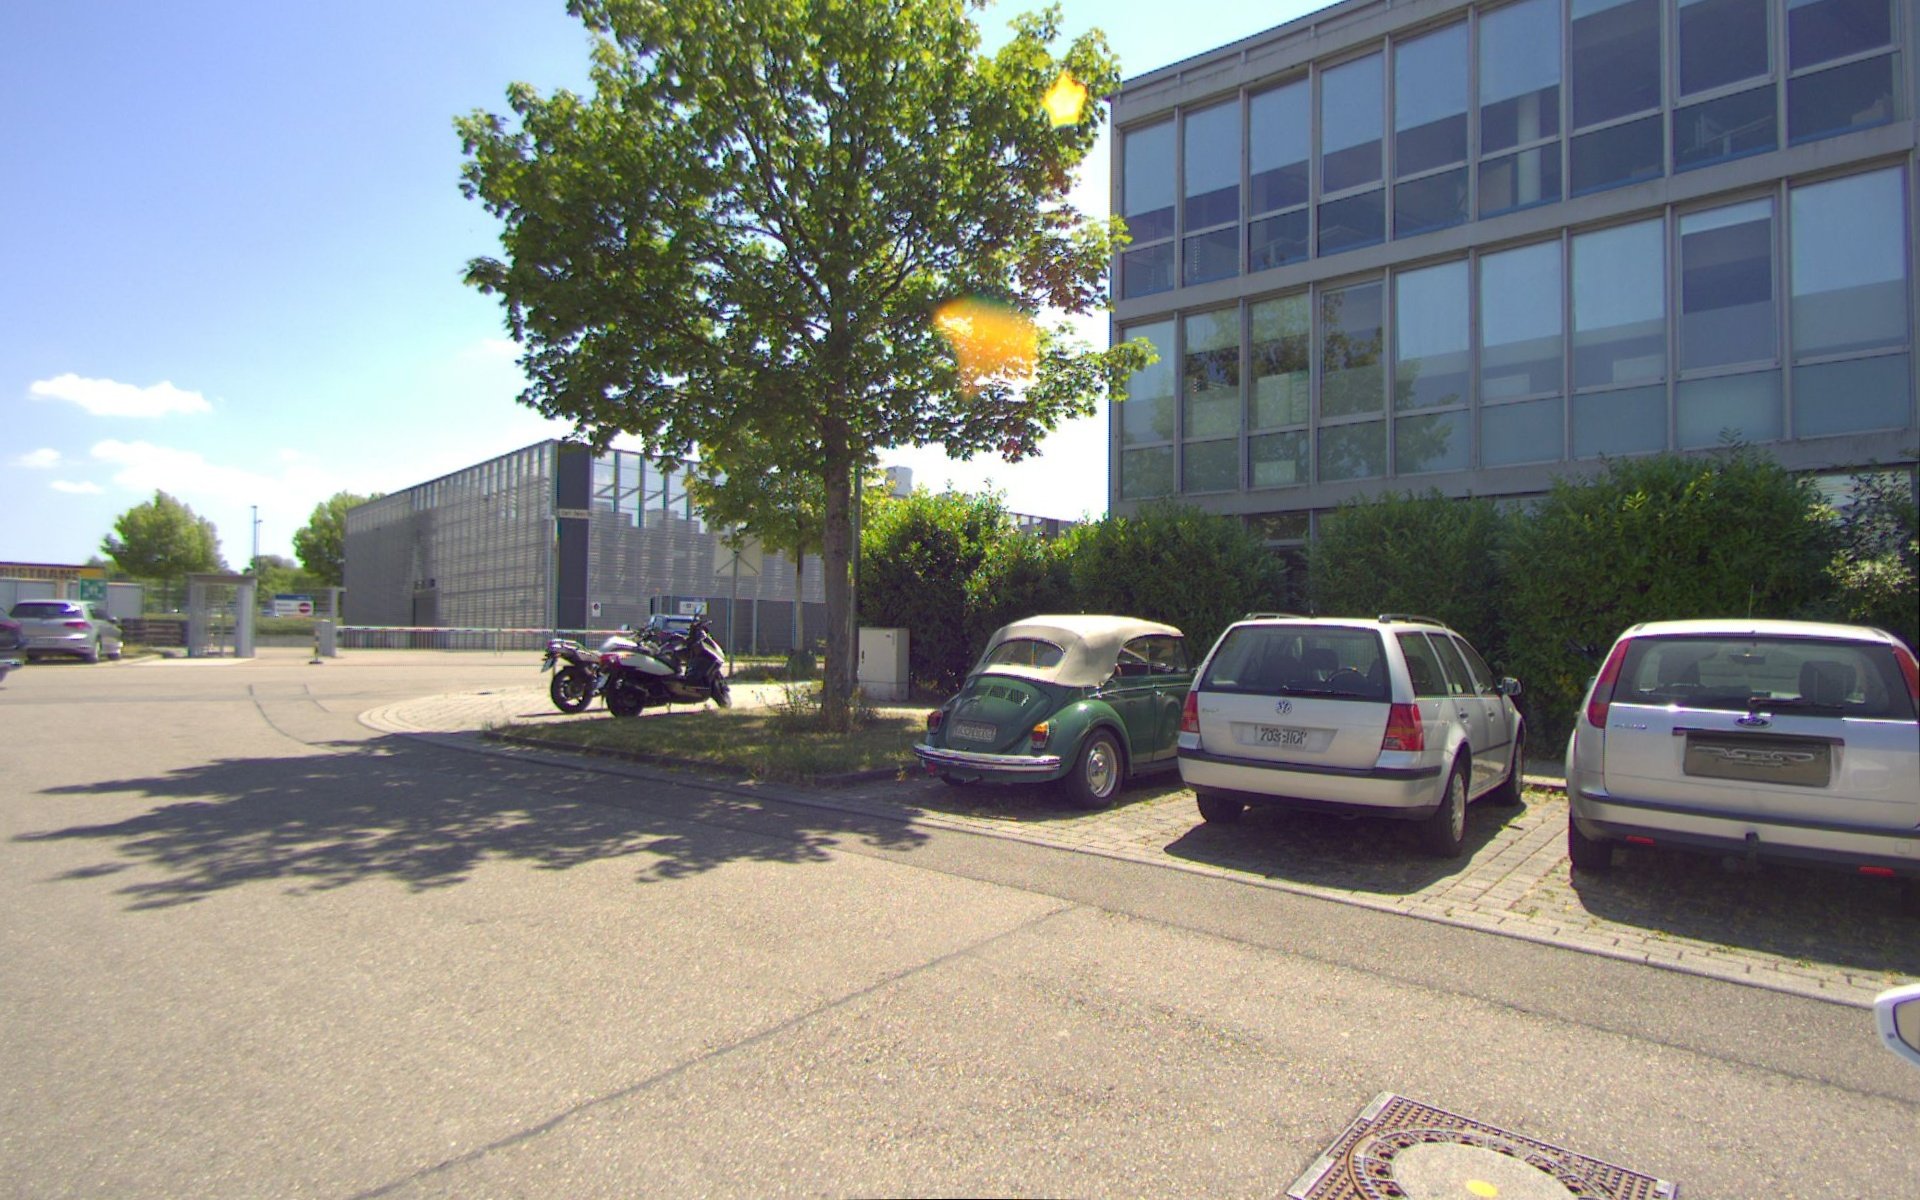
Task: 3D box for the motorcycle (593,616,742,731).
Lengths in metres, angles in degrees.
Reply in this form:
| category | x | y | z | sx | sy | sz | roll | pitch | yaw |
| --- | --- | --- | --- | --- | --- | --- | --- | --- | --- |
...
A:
| category | x | y | z | sx | sy | sz | roll | pitch | yaw |
| --- | --- | --- | --- | --- | --- | --- | --- | --- | --- |
| motorcycle | -3.819 | 0.932 | 13.282 | 0.476 | 1.408 | 1.982 | 0 | -1 | 36 |

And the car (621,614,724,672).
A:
| category | x | y | z | sx | sy | sz | roll | pitch | yaw |
| --- | --- | --- | --- | --- | --- | --- | --- | --- | --- |
| car | -8.684 | 1.254 | 30.131 | 1.978 | 1.616 | 3.966 | 2 | -2 | -31 |

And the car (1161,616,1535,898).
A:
| category | x | y | z | sx | sy | sz | roll | pitch | yaw |
| --- | --- | --- | --- | --- | --- | --- | --- | --- | --- |
| car | 3.087 | 0.922 | 7.471 | 1.626 | 1.498 | 3.878 | 0 | -2 | 36 |

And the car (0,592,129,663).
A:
| category | x | y | z | sx | sy | sz | roll | pitch | yaw |
| --- | --- | --- | --- | --- | --- | --- | --- | --- | --- |
| car | -21.249 | 0.638 | 23.907 | 1.634 | 1.542 | 3.967 | 2 | -2 | -31 |

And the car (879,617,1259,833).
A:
| category | x | y | z | sx | sy | sz | roll | pitch | yaw |
| --- | --- | --- | --- | --- | --- | --- | --- | --- | --- |
| car | 1.175 | 0.934 | 8.954 | 1.626 | 1.467 | 3.878 | 0 | -2 | 36 |

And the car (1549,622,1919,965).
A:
| category | x | y | z | sx | sy | sz | roll | pitch | yaw |
| --- | --- | --- | --- | --- | --- | --- | --- | --- | --- |
| car | 5.179 | 0.944 | 6.518 | 1.699 | 1.498 | 4.329 | 0 | -2 | 39 |

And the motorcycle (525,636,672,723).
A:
| category | x | y | z | sx | sy | sz | roll | pitch | yaw |
| --- | --- | --- | --- | --- | --- | --- | --- | --- | --- |
| motorcycle | -5.002 | 1.068 | 14.033 | 0.476 | 1.123 | 1.982 | 0 | -1 | 36 |

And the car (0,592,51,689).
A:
| category | x | y | z | sx | sy | sz | roll | pitch | yaw |
| --- | --- | --- | --- | --- | --- | --- | --- | --- | --- |
| car | -17.399 | 0.614 | 16.059 | 4.172 | 1.533 | 1.961 | 1 | -2 | 7 |
